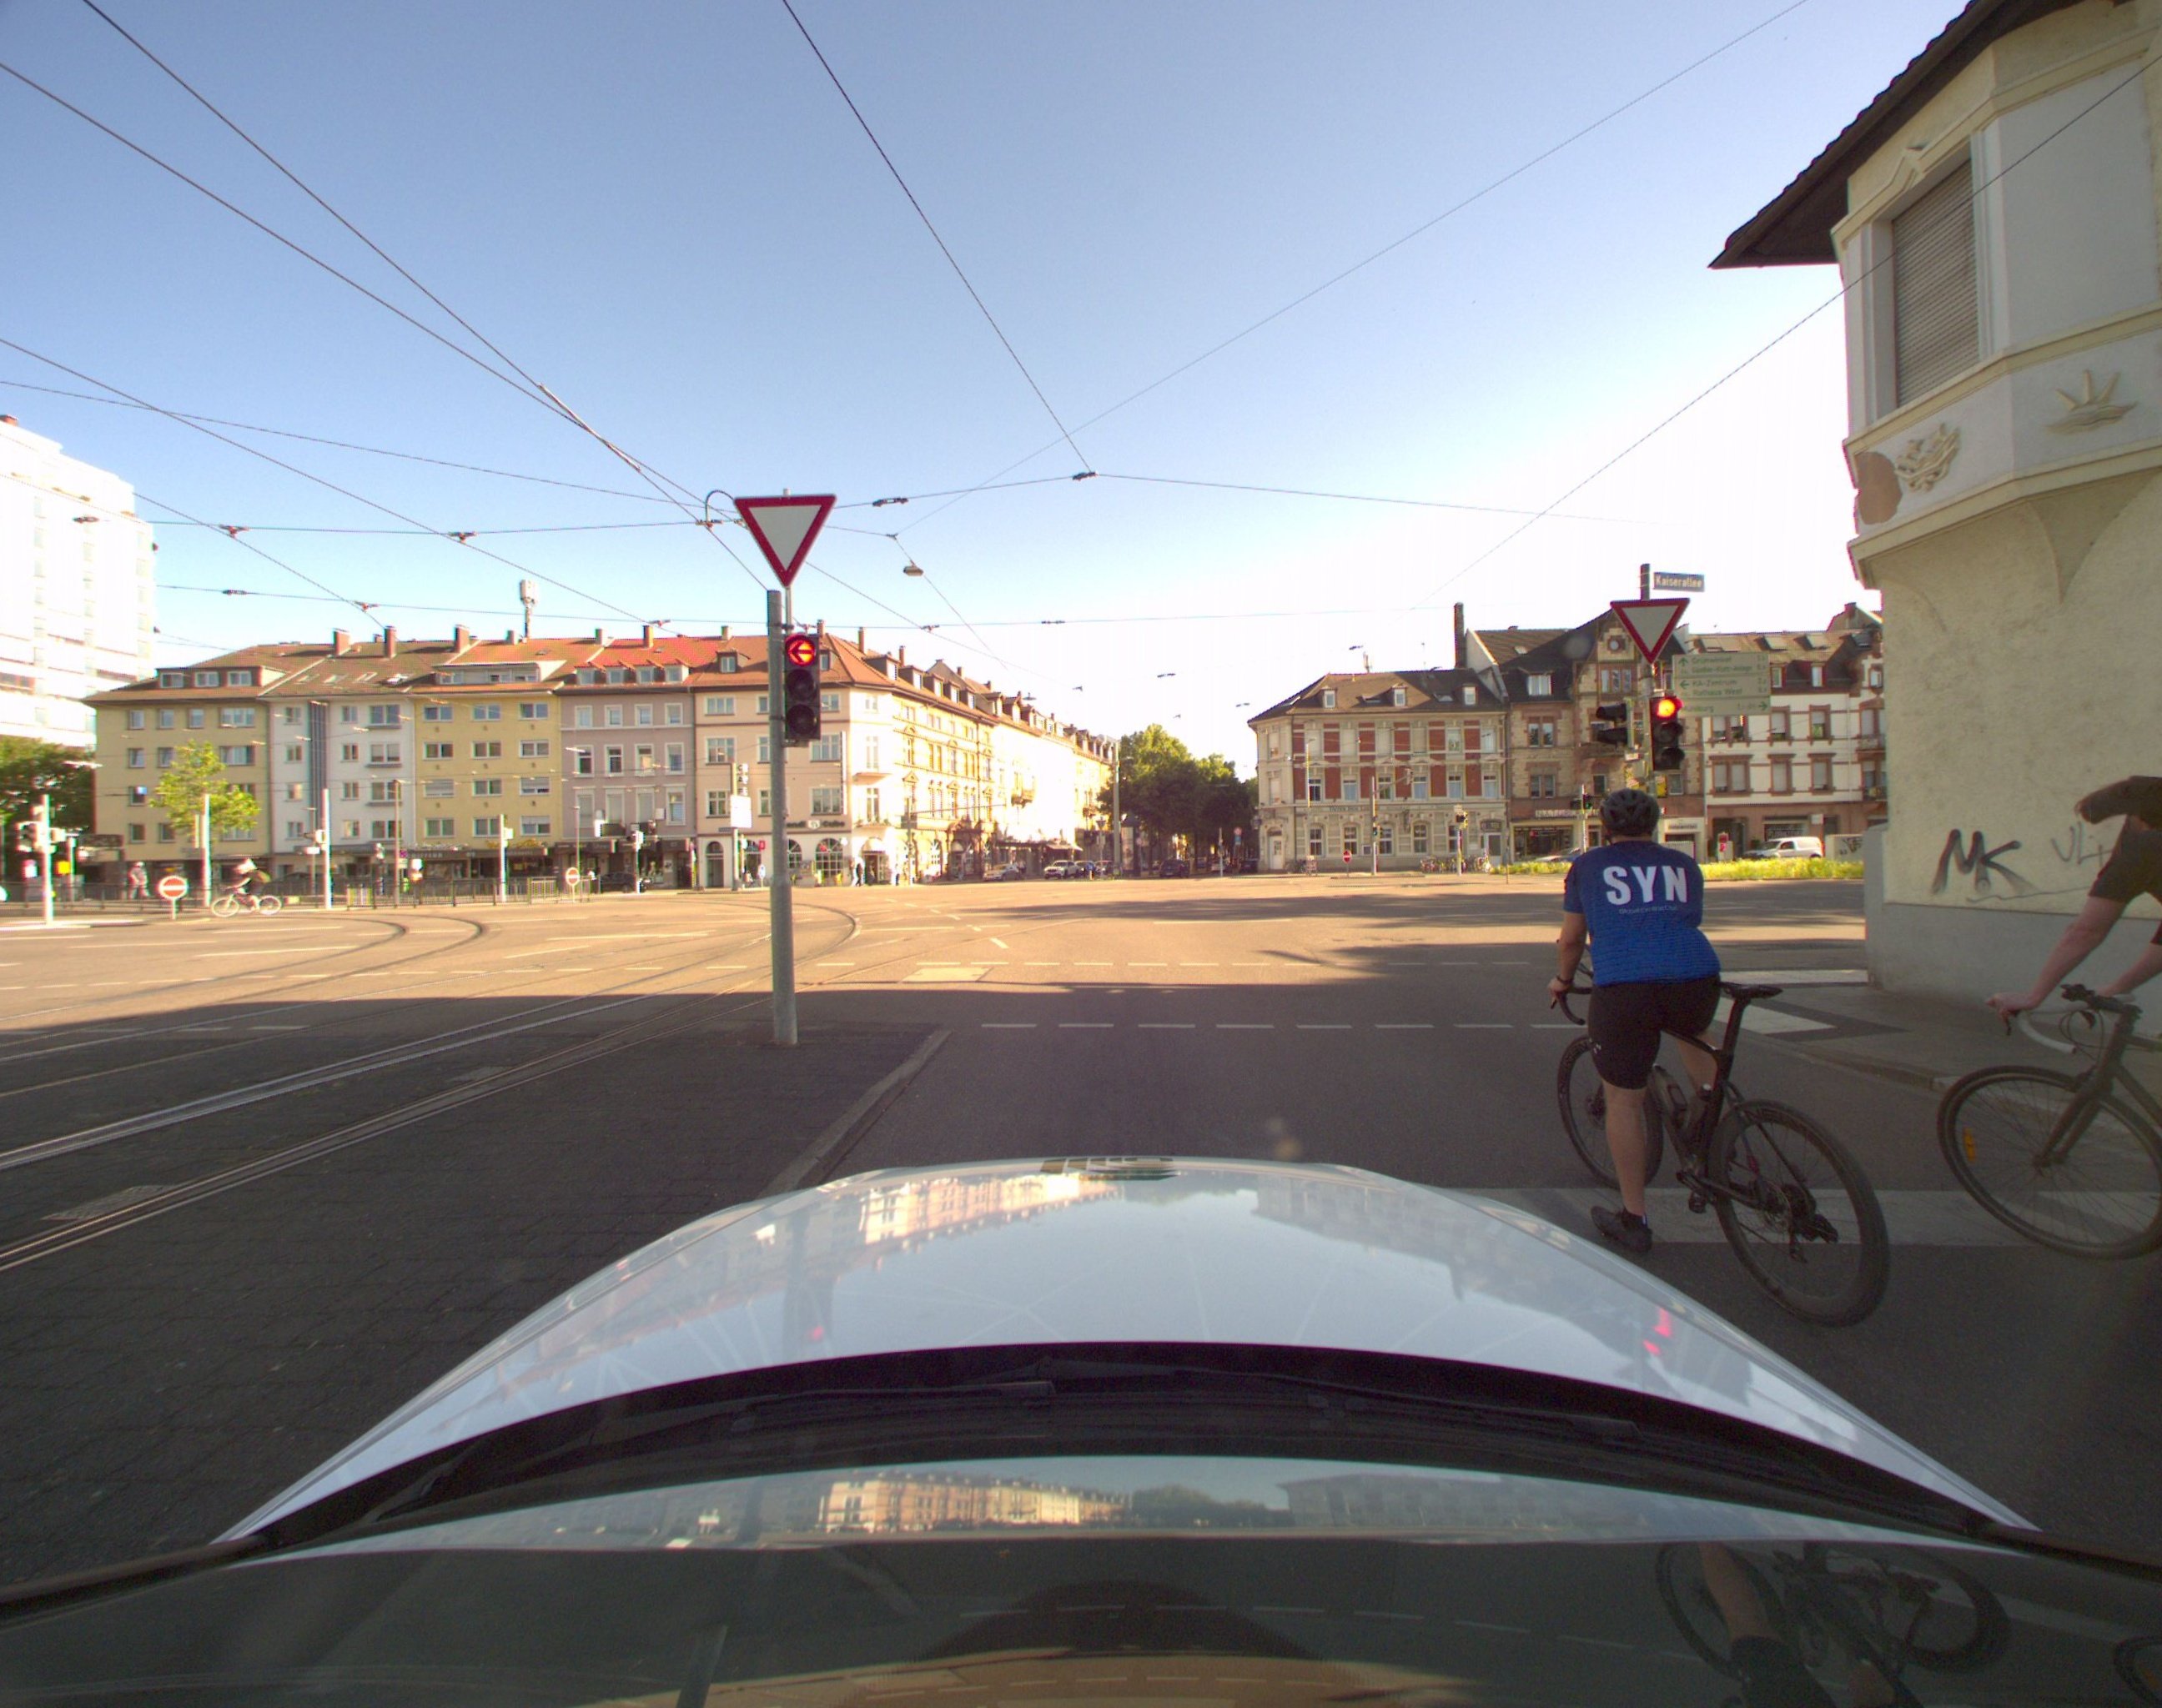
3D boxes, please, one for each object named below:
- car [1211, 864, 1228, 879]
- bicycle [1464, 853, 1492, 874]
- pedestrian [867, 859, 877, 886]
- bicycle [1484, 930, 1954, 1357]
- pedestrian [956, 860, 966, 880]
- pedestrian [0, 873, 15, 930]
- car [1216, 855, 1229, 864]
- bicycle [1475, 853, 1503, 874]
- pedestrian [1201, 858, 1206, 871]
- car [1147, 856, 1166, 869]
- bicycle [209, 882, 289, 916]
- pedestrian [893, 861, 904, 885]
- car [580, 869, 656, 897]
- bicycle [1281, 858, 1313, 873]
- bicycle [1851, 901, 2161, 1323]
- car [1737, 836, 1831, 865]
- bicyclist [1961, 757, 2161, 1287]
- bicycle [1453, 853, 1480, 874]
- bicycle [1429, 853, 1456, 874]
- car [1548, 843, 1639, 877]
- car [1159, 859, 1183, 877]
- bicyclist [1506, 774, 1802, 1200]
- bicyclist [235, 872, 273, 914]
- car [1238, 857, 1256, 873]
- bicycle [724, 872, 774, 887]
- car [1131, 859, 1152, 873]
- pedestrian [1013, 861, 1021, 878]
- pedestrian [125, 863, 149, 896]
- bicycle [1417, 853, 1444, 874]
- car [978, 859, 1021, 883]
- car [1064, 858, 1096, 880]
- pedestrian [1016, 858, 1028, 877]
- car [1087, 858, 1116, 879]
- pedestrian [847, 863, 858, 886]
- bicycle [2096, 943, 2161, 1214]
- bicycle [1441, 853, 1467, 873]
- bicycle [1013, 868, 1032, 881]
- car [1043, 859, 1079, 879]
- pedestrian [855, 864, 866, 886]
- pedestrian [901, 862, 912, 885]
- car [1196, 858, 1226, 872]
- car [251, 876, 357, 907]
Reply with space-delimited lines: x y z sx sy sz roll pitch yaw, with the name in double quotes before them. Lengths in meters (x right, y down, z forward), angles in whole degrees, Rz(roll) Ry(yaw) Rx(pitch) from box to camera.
"car" 14.753 1.847 86.877 1.761 1.530 4.010 -1 -1 9
"bicycle" 25.507 0.616 52.382 0.626 1.287 2.663 0 -1 3
"pedestrian" -14.510 1.260 56.522 0.631 1.881 0.465 0 -1 -2
"bicycle" 2.274 0.918 3.227 0.623 1.085 1.705 0 -1 5
"pedestrian" -9.870 1.339 67.004 0.539 1.631 0.709 -1 -1 15
"pedestrian" -31.752 1.384 23.638 0.697 1.634 0.681 0 -1 -3
"car" 23.286 0.913 134.325 1.546 1.513 3.673 -1 -1 19
"bicycle" 26.202 0.610 52.354 0.626 1.287 2.663 0 -1 3
"pedestrian" 16.374 1.368 108.568 0.635 1.796 0.492 -1 -1 14
"car" 11.341 1.328 122.555 1.977 1.904 4.019 -1 -1 19
"bicycle" -28.015 1.505 27.446 0.567 1.070 1.806 -1 -1 32
"pedestrian" -12.632 1.334 56.366 0.631 1.634 0.700 0 -1 -2
"car" -30.584 1.914 53.818 3.962 1.670 2.006 -2 0 10
"bicycle" 15.086 0.813 56.890 2.040 0.998 0.631 -1 -1 4
"bicycle" 3.684 0.818 2.643 0.752 1.236 1.702 0 -1 0
"car" 45.316 -0.226 52.568 4.349 1.778 2.000 0 -1 1
"bicyclist" 3.679 0.509 2.584 0.803 1.606 0.883 0 -1 0
"bicycle" 24.779 0.620 52.387 0.626 1.287 2.663 0 -1 3
"bicycle" 23.265 0.590 52.422 0.689 1.287 2.663 0 -1 3
"car" 28.347 0.342 45.137 3.769 1.778 2.000 0 -1 1
"car" 6.934 1.040 62.537 1.744 1.362 3.864 0 -1 8
"bicyclist" 2.245 0.460 3.314 0.635 1.494 0.885 0 1 6
"bicyclist" -27.951 1.297 27.528 0.553 1.366 0.808 -1 -1 33
"car" 16.824 1.131 82.362 1.680 1.565 3.855 -1 -1 14
"bicycle" -23.420 1.786 57.466 3.118 0.980 1.002 0 -1 1
"car" 8.404 1.617 112.693 1.977 1.904 4.019 -1 -1 19
"pedestrian" -6.082 1.437 77.278 0.539 1.631 0.709 -1 -1 15
"pedestrian" -48.304 1.303 41.673 0.523 1.628 0.577 0 -1 0
"bicycle" 22.492 0.600 52.470 0.689 1.287 2.663 0 -1 3
"car" -6.720 1.365 67.408 1.977 1.904 4.019 -1 -1 19
"car" -0.036 1.346 73.846 1.979 1.904 4.015 -1 -1 14
"pedestrian" -4.755 1.103 65.489 0.814 1.512 0.601 -1 -1 16
"car" 1.996 1.399 79.616 1.979 1.904 4.015 -1 -1 14
"pedestrian" -15.778 1.415 56.140 0.631 1.612 0.465 0 -1 -2
"bicycle" 4.489 0.876 2.471 0.647 1.031 1.772 0 -1 3
"bicycle" 23.989 0.583 52.415 0.626 1.287 2.663 0 -1 3
"bicycle" -4.727 1.633 65.558 0.756 1.008 2.406 -1 -1 16
"car" -1.651 1.229 67.396 1.979 1.618 4.015 -1 -1 14
"pedestrian" -15.079 1.453 55.662 0.631 1.477 0.465 0 -1 -2
"pedestrian" -12.378 1.384 57.639 0.631 1.634 0.700 0 -1 -2
"car" 18.345 1.560 114.724 3.955 1.904 2.009 -1 -1 17
"car" -43.632 2.093 45.782 4.147 1.618 1.956 0 -1 4
